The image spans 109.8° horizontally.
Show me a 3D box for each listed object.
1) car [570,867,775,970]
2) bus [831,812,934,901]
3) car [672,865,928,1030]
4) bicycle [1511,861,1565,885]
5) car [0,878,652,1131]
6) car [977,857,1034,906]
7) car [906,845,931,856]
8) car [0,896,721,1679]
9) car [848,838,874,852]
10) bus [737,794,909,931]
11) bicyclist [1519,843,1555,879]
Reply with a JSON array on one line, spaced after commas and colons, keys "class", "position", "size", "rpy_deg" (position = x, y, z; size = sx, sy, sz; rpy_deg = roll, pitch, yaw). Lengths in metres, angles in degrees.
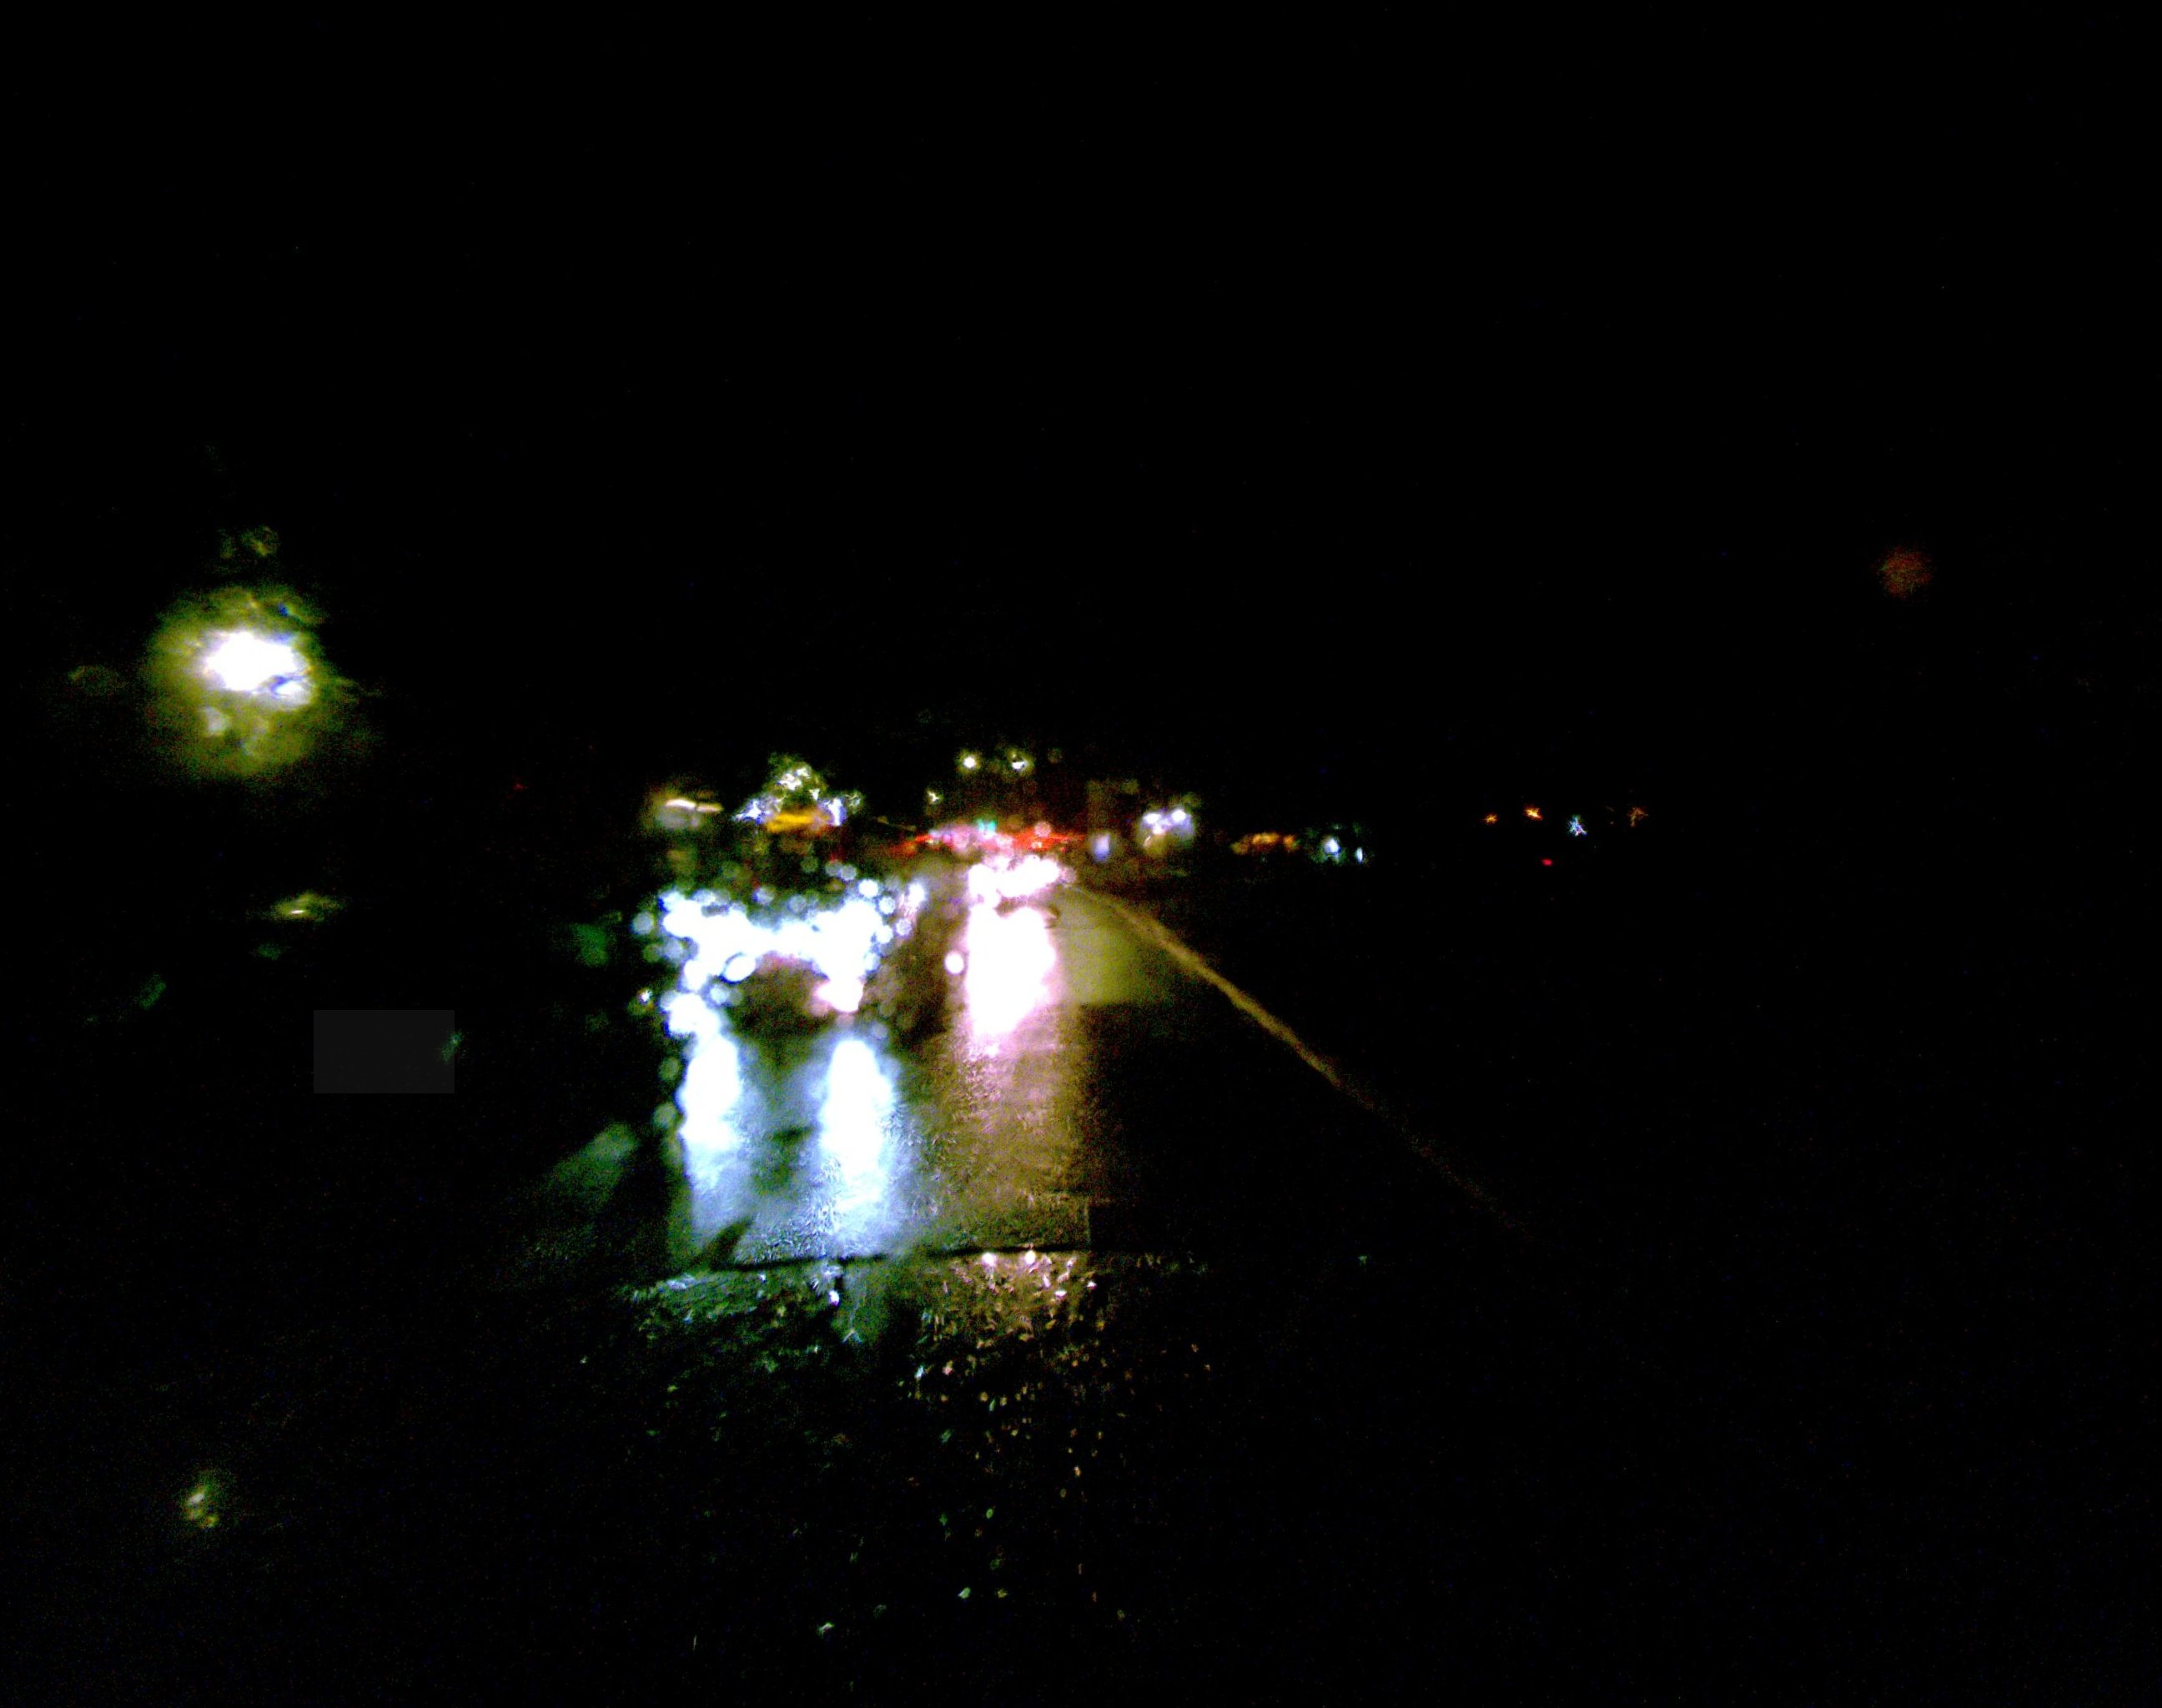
[{"class": "car", "position": [-7.149, 1.032, 13.842], "size": [1.725, 1.478, 4.160], "rpy_deg": [0, 1, -4]}, {"class": "bus", "position": [-8.308, 0.030, 33.036], "size": [2.742, 3.219, 9.693], "rpy_deg": [-2, 1, -6]}, {"class": "car", "position": [-3.327, 0.995, 9.951], "size": [1.724, 1.478, 4.161], "rpy_deg": [-4, 1, 0]}, {"class": "bicycle", "position": [18.704, 0.765, 31.189], "size": [0.628, 0.899, 2.211], "rpy_deg": [0, 1, -9]}, {"class": "car", "position": [-6.447, 1.086, 7.495], "size": [1.724, 1.478, 4.786], "rpy_deg": [-1, 1, 0]}, {"class": "car", "position": [-2.594, 0.846, 25.333], "size": [1.756, 1.438, 3.970], "rpy_deg": [0, 1, -8]}, {"class": "car", "position": [-24.174, -0.551, 113.066], "size": [1.605, 1.528, 4.299], "rpy_deg": [-3, 1, -42]}, {"class": "car", "position": [-3.166, 1.027, 2.762], "size": [1.724, 1.438, 4.161], "rpy_deg": [-1, 1, 0]}, {"class": "car", "position": [-23.739, -0.941, 81.949], "size": [1.712, 1.382, 3.990], "rpy_deg": [-2, 1, -32]}, {"class": "bus", "position": [-7.377, 0.147, 23.396], "size": [2.742, 3.258, 9.693], "rpy_deg": [-2, 1, -6]}, {"class": "bicyclist", "position": [18.711, 0.285, 31.185], "size": [0.629, 1.427, 1.187], "rpy_deg": [0, 1, -9]}]
